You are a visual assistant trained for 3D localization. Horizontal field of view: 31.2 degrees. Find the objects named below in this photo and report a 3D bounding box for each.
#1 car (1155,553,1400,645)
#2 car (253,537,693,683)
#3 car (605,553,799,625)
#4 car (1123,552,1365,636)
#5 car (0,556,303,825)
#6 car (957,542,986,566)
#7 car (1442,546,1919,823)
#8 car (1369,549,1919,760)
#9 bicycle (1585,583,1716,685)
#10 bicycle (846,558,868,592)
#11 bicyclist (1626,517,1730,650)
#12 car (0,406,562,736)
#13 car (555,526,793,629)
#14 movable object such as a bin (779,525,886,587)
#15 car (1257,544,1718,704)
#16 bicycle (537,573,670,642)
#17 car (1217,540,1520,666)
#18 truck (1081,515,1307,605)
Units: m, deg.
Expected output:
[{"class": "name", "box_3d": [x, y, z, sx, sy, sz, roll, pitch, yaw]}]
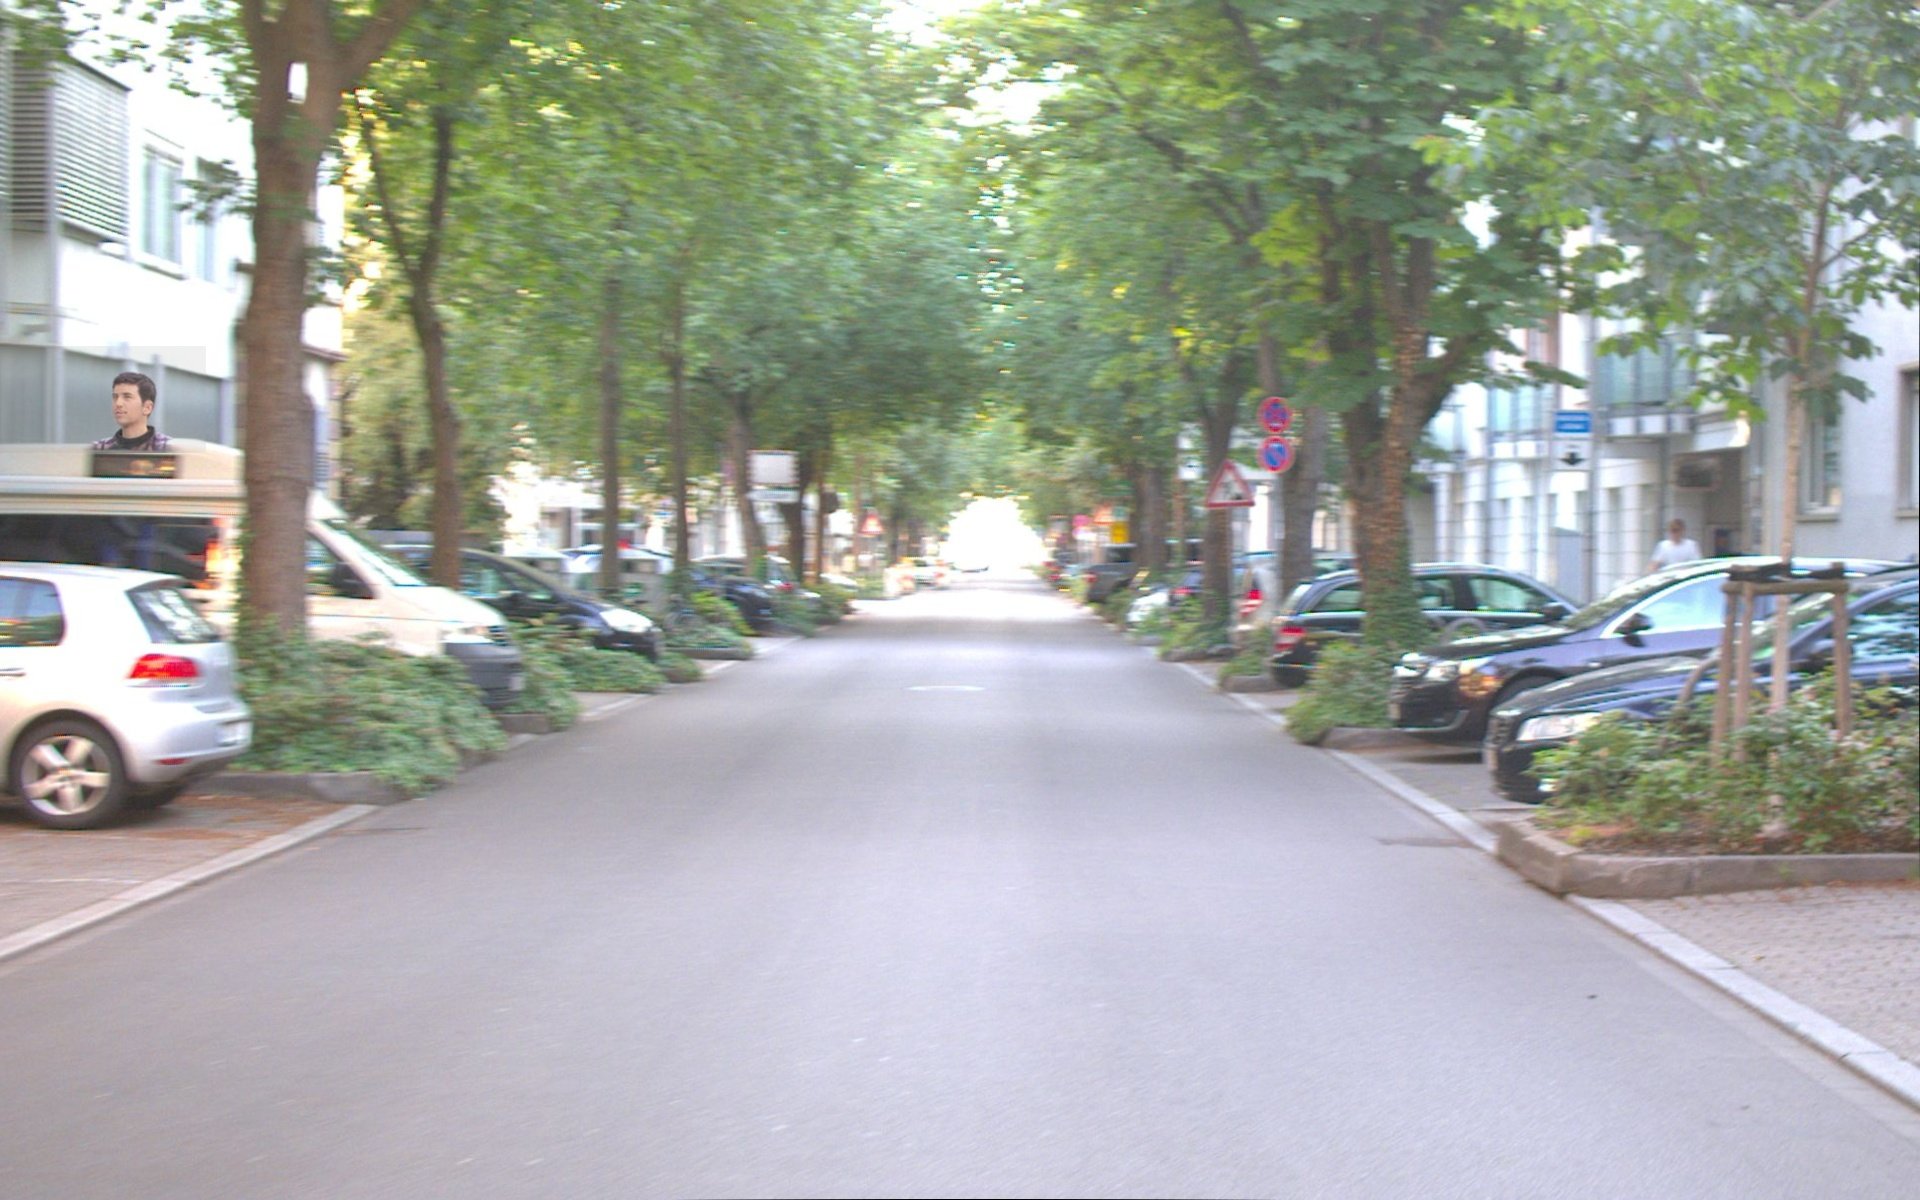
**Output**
[{"class": "car", "box_3d": [5.713, -0.029, 62.204, 4.082, 1.446, 1.935, -3, 1, -4]}, {"class": "car", "box_3d": [-5.710, 0.098, 40.747, 4.853, 1.616, 2.160, 1, 1, 2]}, {"class": "car", "box_3d": [-5.442, -0.236, 72.934, 3.987, 1.459, 1.922, 1, 1, -1]}, {"class": "car", "box_3d": [5.598, -0.123, 68.230, 4.600, 1.463, 1.796, -2, 1, 0]}, {"class": "car", "box_3d": [-6.134, 0.477, 20.103, 4.168, 1.463, 1.953, 1, 1, 2]}, {"class": "car", "box_3d": [0.803, -3.300, 245.790, 2.009, 1.607, 4.120, 1, 2, -1]}, {"class": "car", "box_3d": [5.295, 0.420, 19.640, 4.840, 1.443, 2.042, -2, 1, 3]}, {"class": "car", "box_3d": [5.556, 0.378, 26.102, 4.678, 1.383, 2.000, -2, 1, 3]}, {"class": "bicycle", "box_3d": [8.347, 0.387, 41.707, 0.620, 1.160, 3.402, 0, 1, -5]}, {"class": "bicycle", "box_3d": [-3.590, -0.863, 119.781, 0.683, 1.149, 1.981, 0, 1, -4]}, {"class": "bicyclist", "box_3d": [8.761, -0.210, 41.993, 0.970, 1.599, 1.136, 0, 1, -4]}, {"class": "car", "box_3d": [-5.926, -0.252, 28.300, 5.003, 2.564, 2.121, 1, 1, 1]}, {"class": "car", "box_3d": [-5.602, -0.450, 67.712, 4.505, 1.949, 2.000, 1, 1, 0]}, {"class": "movable object such as a bin", "box_3d": [-4.984, -1.715, 134.338, 4.045, 2.375, 2.785, 0, 1, -5]}, {"class": "car", "box_3d": [5.287, 0.234, 34.958, 4.459, 1.422, 2.011, -2, 0, 5]}, {"class": "bicycle", "box_3d": [-4.438, 0.091, 42.848, 1.553, 0.828, 0.613, 1, 1, 4]}, {"class": "car", "box_3d": [5.677, 0.033, 48.150, 3.969, 1.580, 1.916, -2, 1, 1]}, {"class": "truck", "box_3d": [6.186, -1.065, 91.430, 5.888, 2.303, 2.212, 1, 1, 2]}]
